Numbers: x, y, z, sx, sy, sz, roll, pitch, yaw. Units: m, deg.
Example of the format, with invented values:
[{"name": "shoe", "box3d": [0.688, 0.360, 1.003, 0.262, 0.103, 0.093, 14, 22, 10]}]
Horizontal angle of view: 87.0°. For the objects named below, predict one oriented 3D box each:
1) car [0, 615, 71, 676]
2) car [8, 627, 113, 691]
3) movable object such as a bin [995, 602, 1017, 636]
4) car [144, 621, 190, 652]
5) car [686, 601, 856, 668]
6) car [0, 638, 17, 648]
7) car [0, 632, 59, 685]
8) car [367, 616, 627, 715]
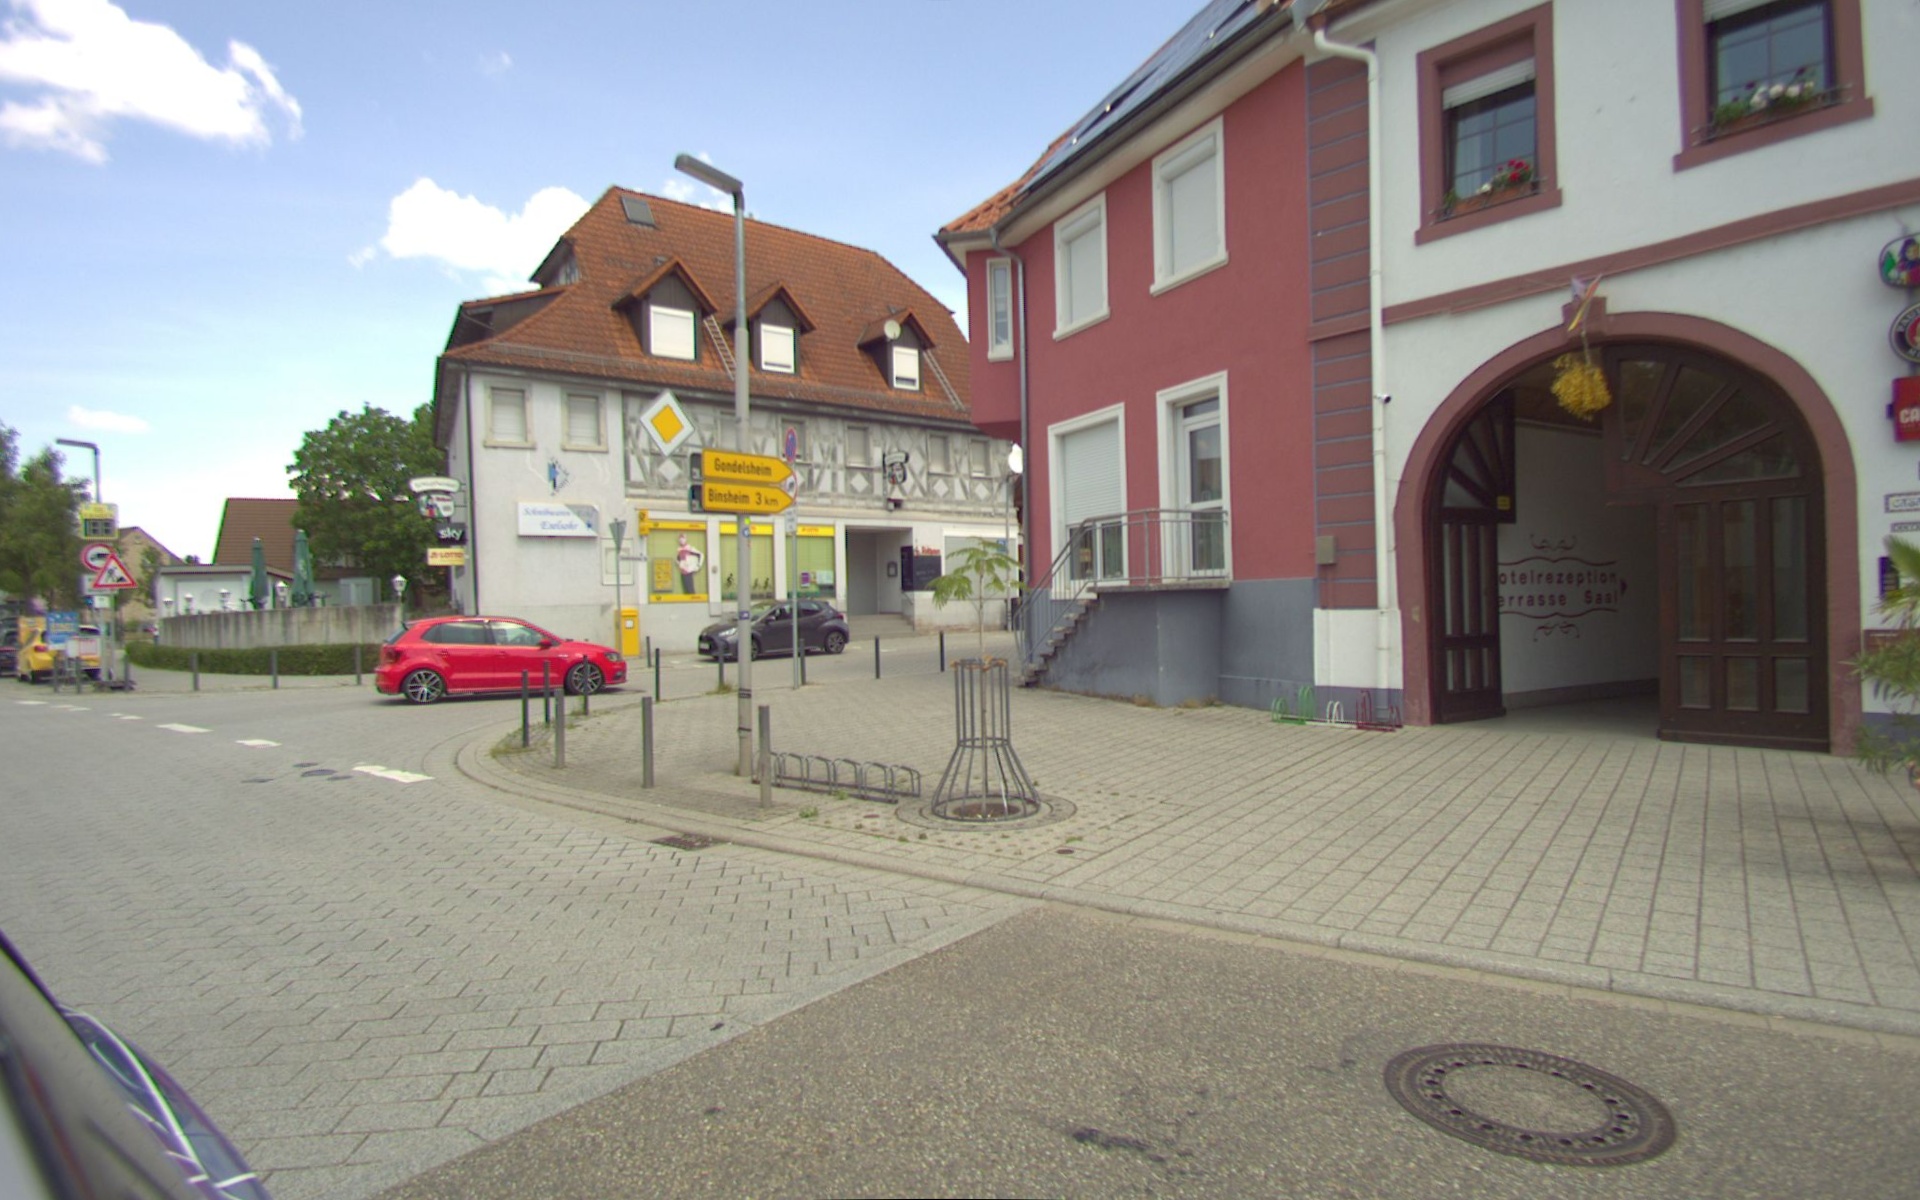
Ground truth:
[{"name": "car", "box3d": [-33.124, 1.608, 36.185, 1.962, 2.005, 5.051, -1, -1, -41]}, {"name": "car", "box3d": [-23.249, 1.483, 26.111, 3.962, 1.486, 1.650, -2, -2, 43]}, {"name": "movable object such as a bin", "box3d": [1.578, 0.648, 34.415, 0.486, 1.125, 0.586, 1, -1, -39]}, {"name": "car", "box3d": [-59.247, 2.679, 75.674, 1.861, 2.202, 5.046, 0, -1, -28]}, {"name": "car", "box3d": [-4.810, 0.843, 26.012, 3.891, 1.529, 1.776, -1, -1, -40]}, {"name": "car", "box3d": [-107.454, 4.857, 113.188, 3.981, 1.068, 1.787, -2, -1, 28]}, {"name": "car", "box3d": [-28.369, 1.729, 30.376, 1.795, 1.434, 4.540, -1, -1, -44]}, {"name": "car", "box3d": [-7.828, 1.029, 17.161, 3.821, 1.422, 1.789, -1, -1, -31]}]
